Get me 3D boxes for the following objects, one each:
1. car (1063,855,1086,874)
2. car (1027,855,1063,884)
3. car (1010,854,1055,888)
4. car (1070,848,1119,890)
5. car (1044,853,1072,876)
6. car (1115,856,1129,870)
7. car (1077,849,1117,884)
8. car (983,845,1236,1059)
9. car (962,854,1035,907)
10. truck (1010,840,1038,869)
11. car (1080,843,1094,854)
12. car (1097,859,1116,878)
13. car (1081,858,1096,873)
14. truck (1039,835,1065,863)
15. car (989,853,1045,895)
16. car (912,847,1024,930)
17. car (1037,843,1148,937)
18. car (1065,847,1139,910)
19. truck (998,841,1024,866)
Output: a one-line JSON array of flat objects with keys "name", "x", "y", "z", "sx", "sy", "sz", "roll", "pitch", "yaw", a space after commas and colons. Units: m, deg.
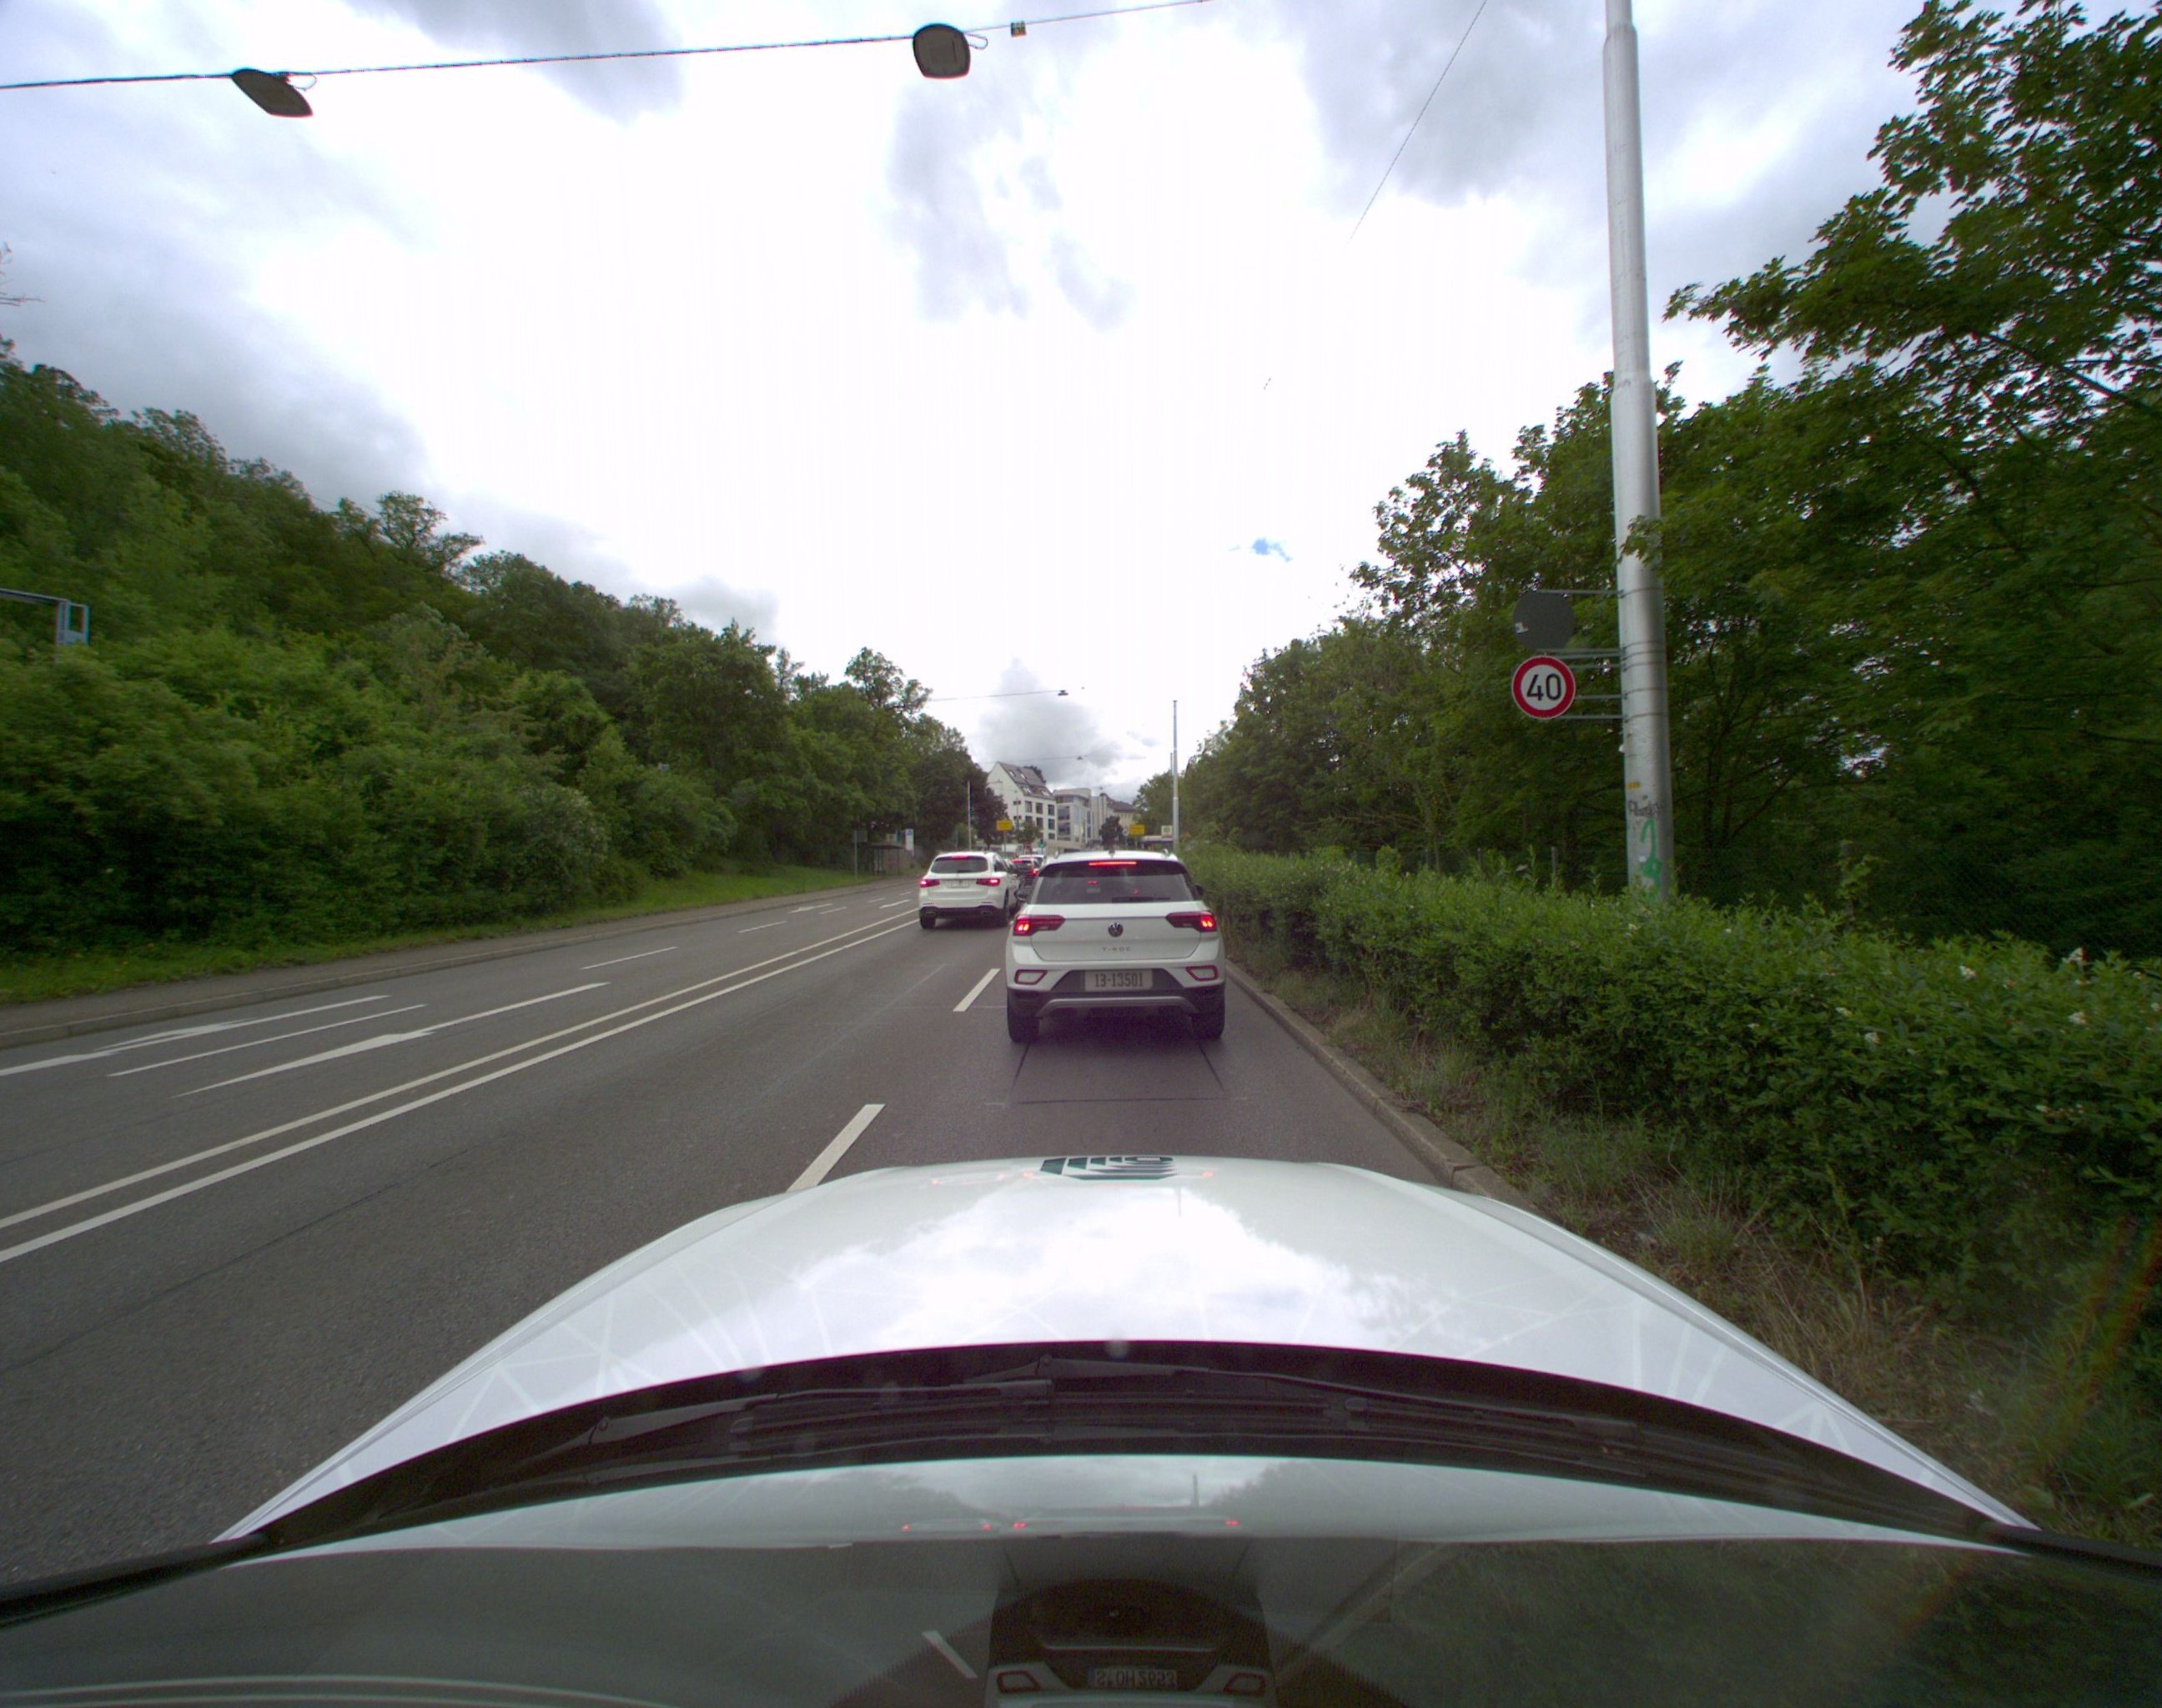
[{"name": "car", "x": -0.569, "y": 0.882, "z": 70.633, "sx": 1.823, "sy": 1.526, "sz": 4.001, "roll": -2, "pitch": 0, "yaw": 1}, {"name": "car", "x": -2.063, "y": 0.871, "z": 47.610, "sx": 1.823, "sy": 1.526, "sz": 4.001, "roll": -2, "pitch": 0, "yaw": 1}, {"name": "car", "x": -2.321, "y": 0.781, "z": 39.888, "sx": 1.823, "sy": 1.526, "sz": 4.001, "roll": -2, "pitch": 0, "yaw": 1}, {"name": "car", "x": 0.558, "y": 0.586, "z": 32.949, "sx": 1.823, "sy": 1.526, "sz": 4.001, "roll": -2, "pitch": 0, "yaw": 1}, {"name": "car", "x": -1.647, "y": 0.757, "z": 59.668, "sx": 1.823, "sy": 1.526, "sz": 4.001, "roll": -2, "pitch": 0, "yaw": 1}, {"name": "car", "x": 6.116, "y": 1.299, "z": 122.064, "sx": 1.986, "sy": 2.013, "sz": 4.001, "roll": -3, "pitch": 0, "yaw": 1}, {"name": "car", "x": 0.775, "y": 0.588, "z": 39.687, "sx": 1.823, "sy": 1.526, "sz": 4.001, "roll": -2, "pitch": 0, "yaw": 1}, {"name": "car", "x": 0.249, "y": 0.722, "z": 8.007, "sx": 1.823, "sy": 1.526, "sz": 4.001, "roll": -2, "pitch": 0, "yaw": 1}, {"name": "car", "x": -2.595, "y": 0.795, "z": 26.399, "sx": 1.823, "sy": 1.497, "sz": 4.001, "roll": -2, "pitch": 0, "yaw": 1}, {"name": "truck", "x": -5.719, "y": 0.013, "z": 82.111, "sx": 2.354, "sy": 2.706, "sz": 4.478, "roll": -3, "pitch": 0, "yaw": 1}, {"name": "car", "x": 0.869, "y": -0.754, "z": 117.758, "sx": 1.823, "sy": 1.526, "sz": 4.001, "roll": -2, "pitch": 0, "yaw": 1}, {"name": "car", "x": 2.950, "y": 1.654, "z": 94.153, "sx": 1.986, "sy": 2.014, "sz": 4.002, "roll": -3, "pitch": -1, "yaw": 2}, {"name": "car", "x": 0.948, "y": 1.374, "z": 100.786, "sx": 1.809, "sy": 1.656, "sz": 3.929, "roll": -3, "pitch": 0, "yaw": 1}, {"name": "truck", "x": -3.033, "y": -0.525, "z": 86.405, "sx": 2.354, "sy": 2.782, "sz": 4.478, "roll": -3, "pitch": 0, "yaw": 1}, {"name": "car", "x": -2.505, "y": 0.771, "z": 32.807, "sx": 1.823, "sy": 1.526, "sz": 4.001, "roll": -2, "pitch": 0, "yaw": 1}, {"name": "car", "x": -2.457, "y": 0.702, "z": 18.623, "sx": 1.911, "sy": 1.669, "sz": 4.001, "roll": -1, "pitch": 0, "yaw": 1}, {"name": "car", "x": 0.227, "y": 0.612, "z": 15.830, "sx": 1.823, "sy": 1.526, "sz": 4.001, "roll": -2, "pitch": 0, "yaw": 1}, {"name": "car", "x": 0.568, "y": 0.633, "z": 22.751, "sx": 1.823, "sy": 1.526, "sz": 4.001, "roll": -2, "pitch": 0, "yaw": 1}, {"name": "truck", "x": -9.223, "y": -0.019, "z": 108.065, "sx": 2.284, "sy": 3.051, "sz": 6.984, "roll": -3, "pitch": 0, "yaw": 3}]
